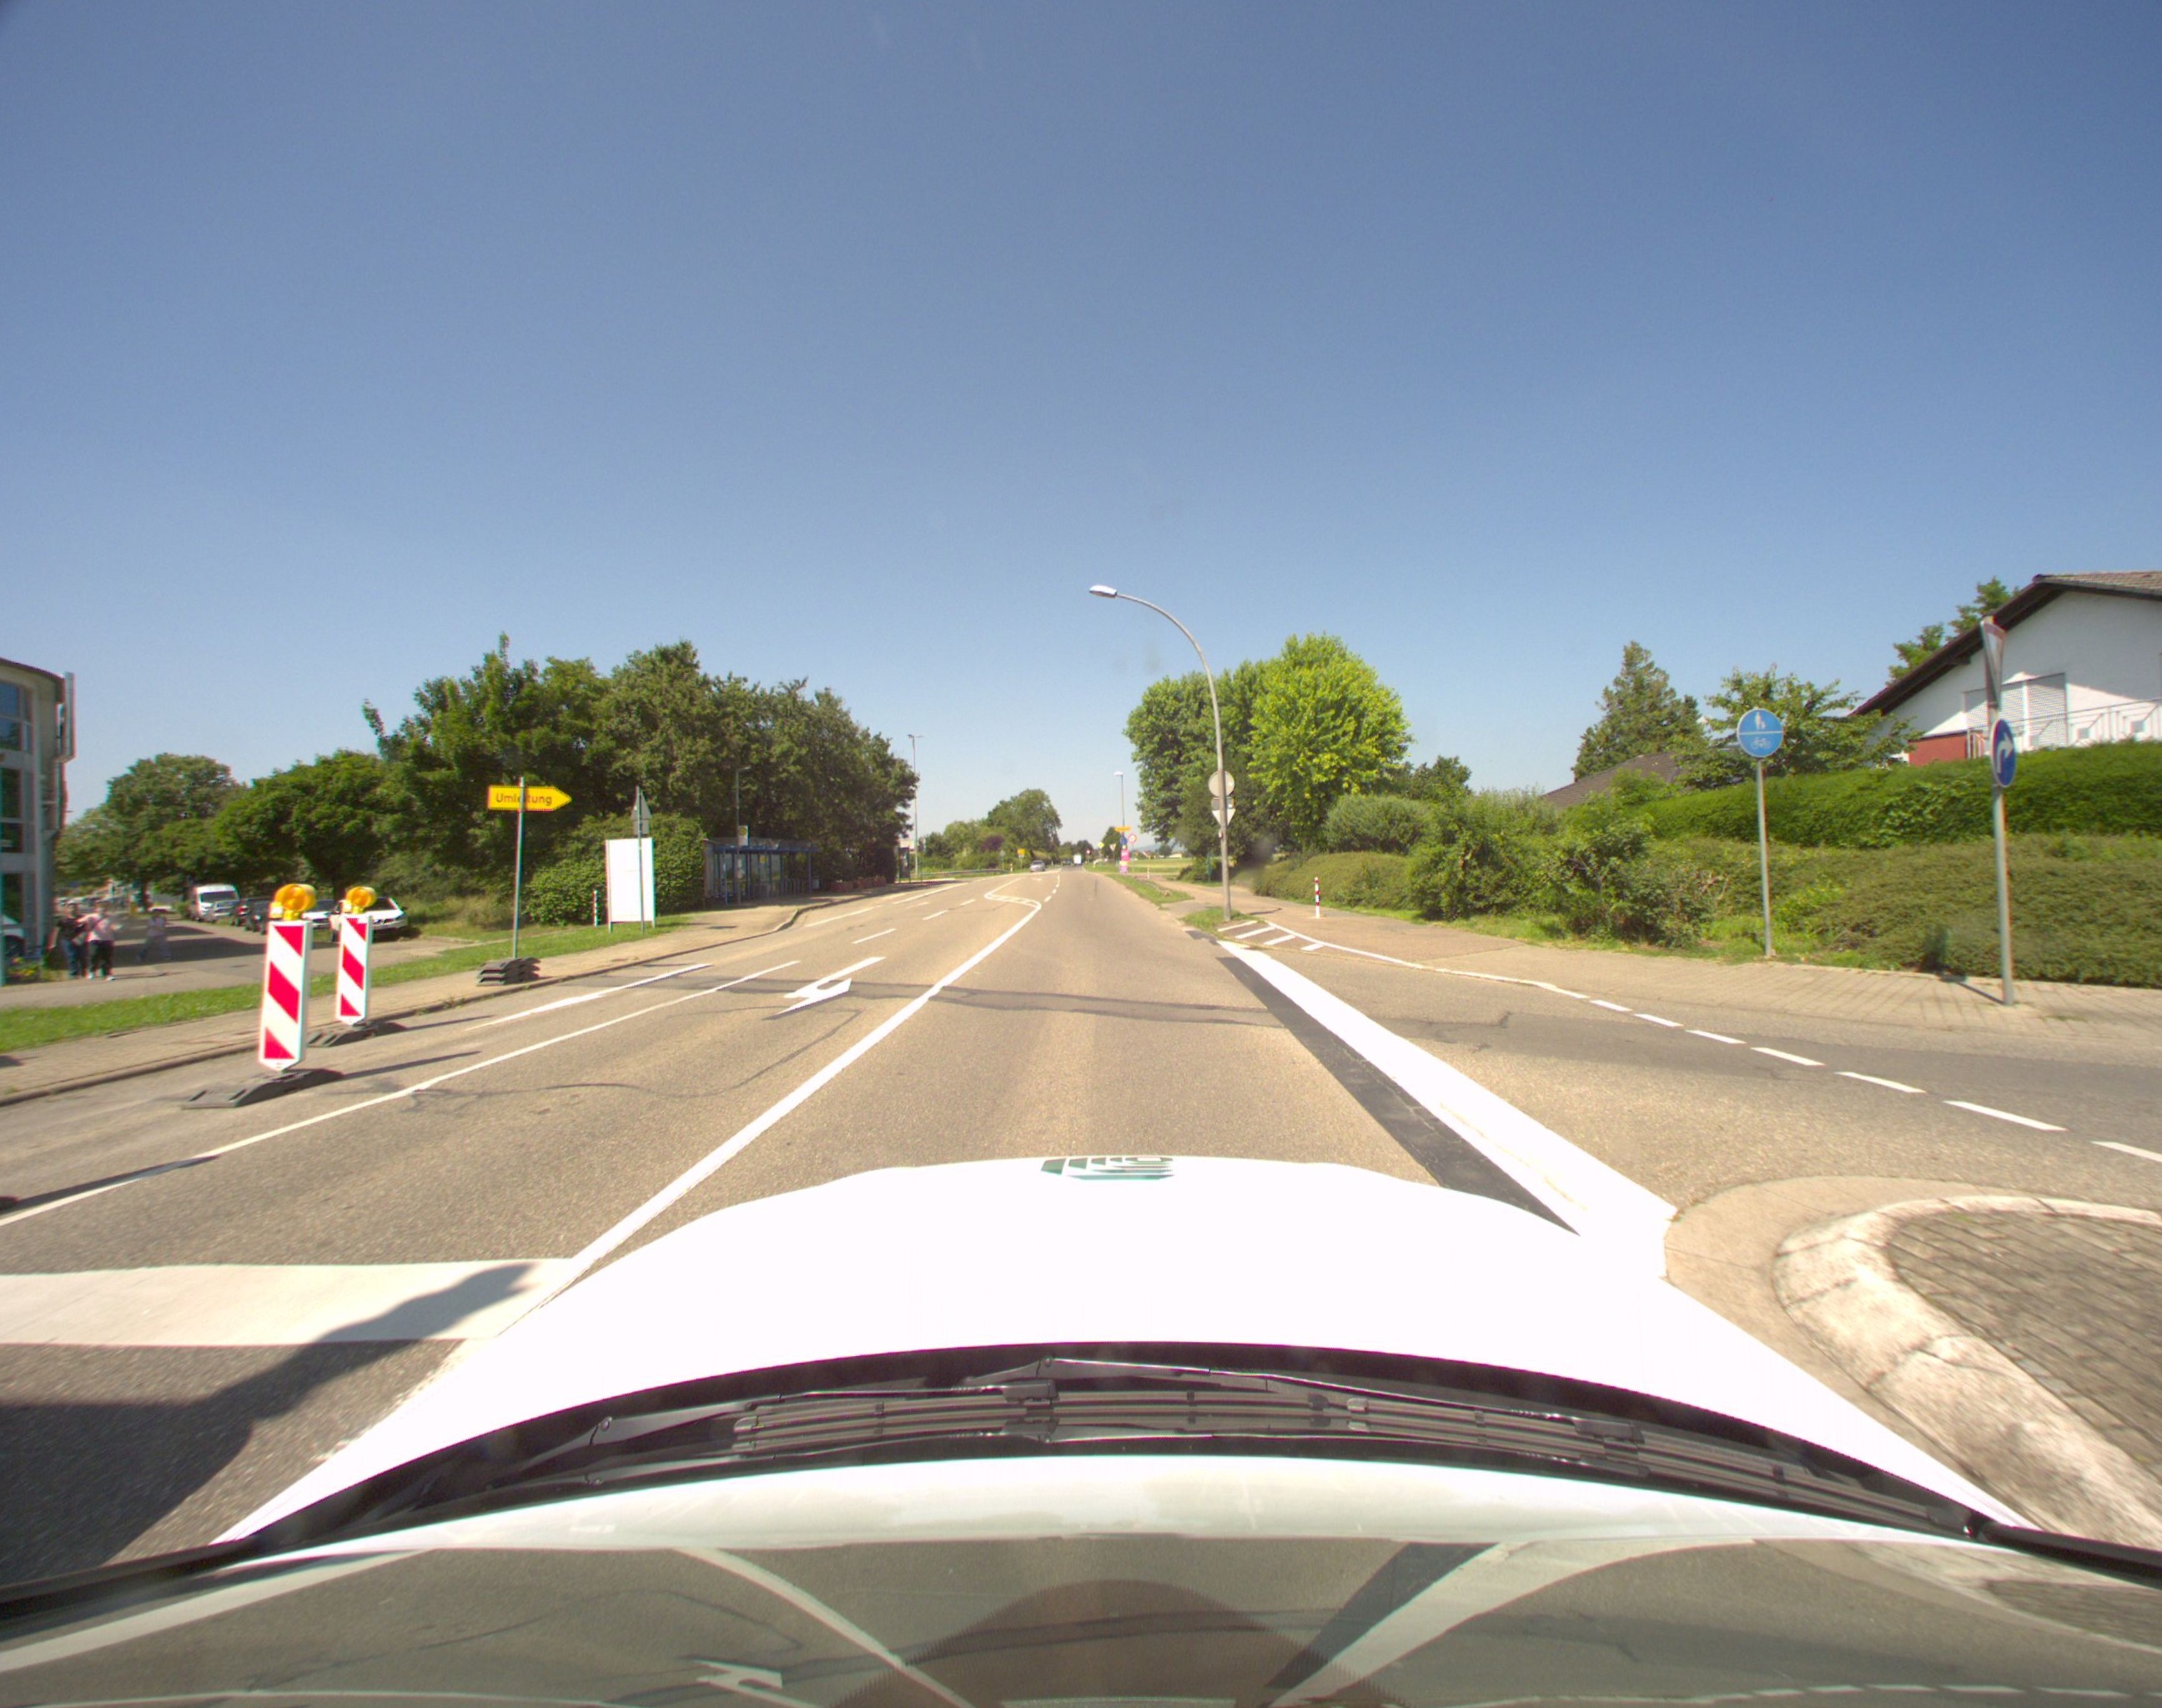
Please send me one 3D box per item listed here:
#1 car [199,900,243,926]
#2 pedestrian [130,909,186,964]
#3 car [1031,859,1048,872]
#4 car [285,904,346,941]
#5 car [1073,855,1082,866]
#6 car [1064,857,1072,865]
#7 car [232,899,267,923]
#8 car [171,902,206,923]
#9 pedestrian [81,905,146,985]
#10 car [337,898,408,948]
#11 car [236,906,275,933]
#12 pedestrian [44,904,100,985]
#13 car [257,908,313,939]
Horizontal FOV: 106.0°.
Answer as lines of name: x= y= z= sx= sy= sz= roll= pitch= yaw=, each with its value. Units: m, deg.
car: x=-56.259 y=3.837 z=53.260 sx=3.455 sy=1.492 sz=1.704 roll=-2 pitch=0 yaw=39
pedestrian: x=-27.834 y=2.473 z=24.561 sx=0.780 sy=1.566 sz=0.929 roll=-3 pitch=0 yaw=29
car: x=-5.335 y=1.464 z=104.894 sx=1.629 sy=1.471 sz=4.419 roll=-2 pitch=0 yaw=3
car: x=-32.789 y=2.906 z=34.867 sx=3.337 sy=1.348 sz=1.693 roll=-2 pitch=-1 yaw=43
car: x=-0.941 y=1.752 z=219.371 sx=1.990 sy=2.651 sz=3.993 roll=-2 pitch=-1 yaw=-5
car: x=-3.577 y=1.988 z=225.476 sx=2.136 sy=1.951 sz=5.248 roll=-1 pitch=-1 yaw=1
car: x=-47.963 y=3.271 z=47.010 sx=1.310 sy=1.243 sz=2.916 roll=-2 pitch=-1 yaw=-44
car: x=-71.163 y=4.666 z=64.918 sx=3.455 sy=1.492 sz=1.704 roll=-3 pitch=0 yaw=39
pedestrian: x=-22.524 y=2.084 z=18.970 sx=0.948 sy=1.740 sz=0.821 roll=-2 pitch=-1 yaw=32
car: x=-25.992 y=2.462 z=29.838 sx=1.816 sy=1.568 sz=3.538 roll=-2 pitch=-1 yaw=-43
car: x=-41.662 y=3.270 z=41.072 sx=2.904 sy=1.228 sz=1.235 roll=-2 pitch=-1 yaw=42
pedestrian: x=-23.806 y=2.114 z=19.218 sx=0.794 sy=1.822 sz=0.714 roll=-2 pitch=-1 yaw=33
car: x=-36.524 y=3.151 z=37.344 sx=3.513 sy=1.204 sz=1.462 roll=-2 pitch=-1 yaw=40
